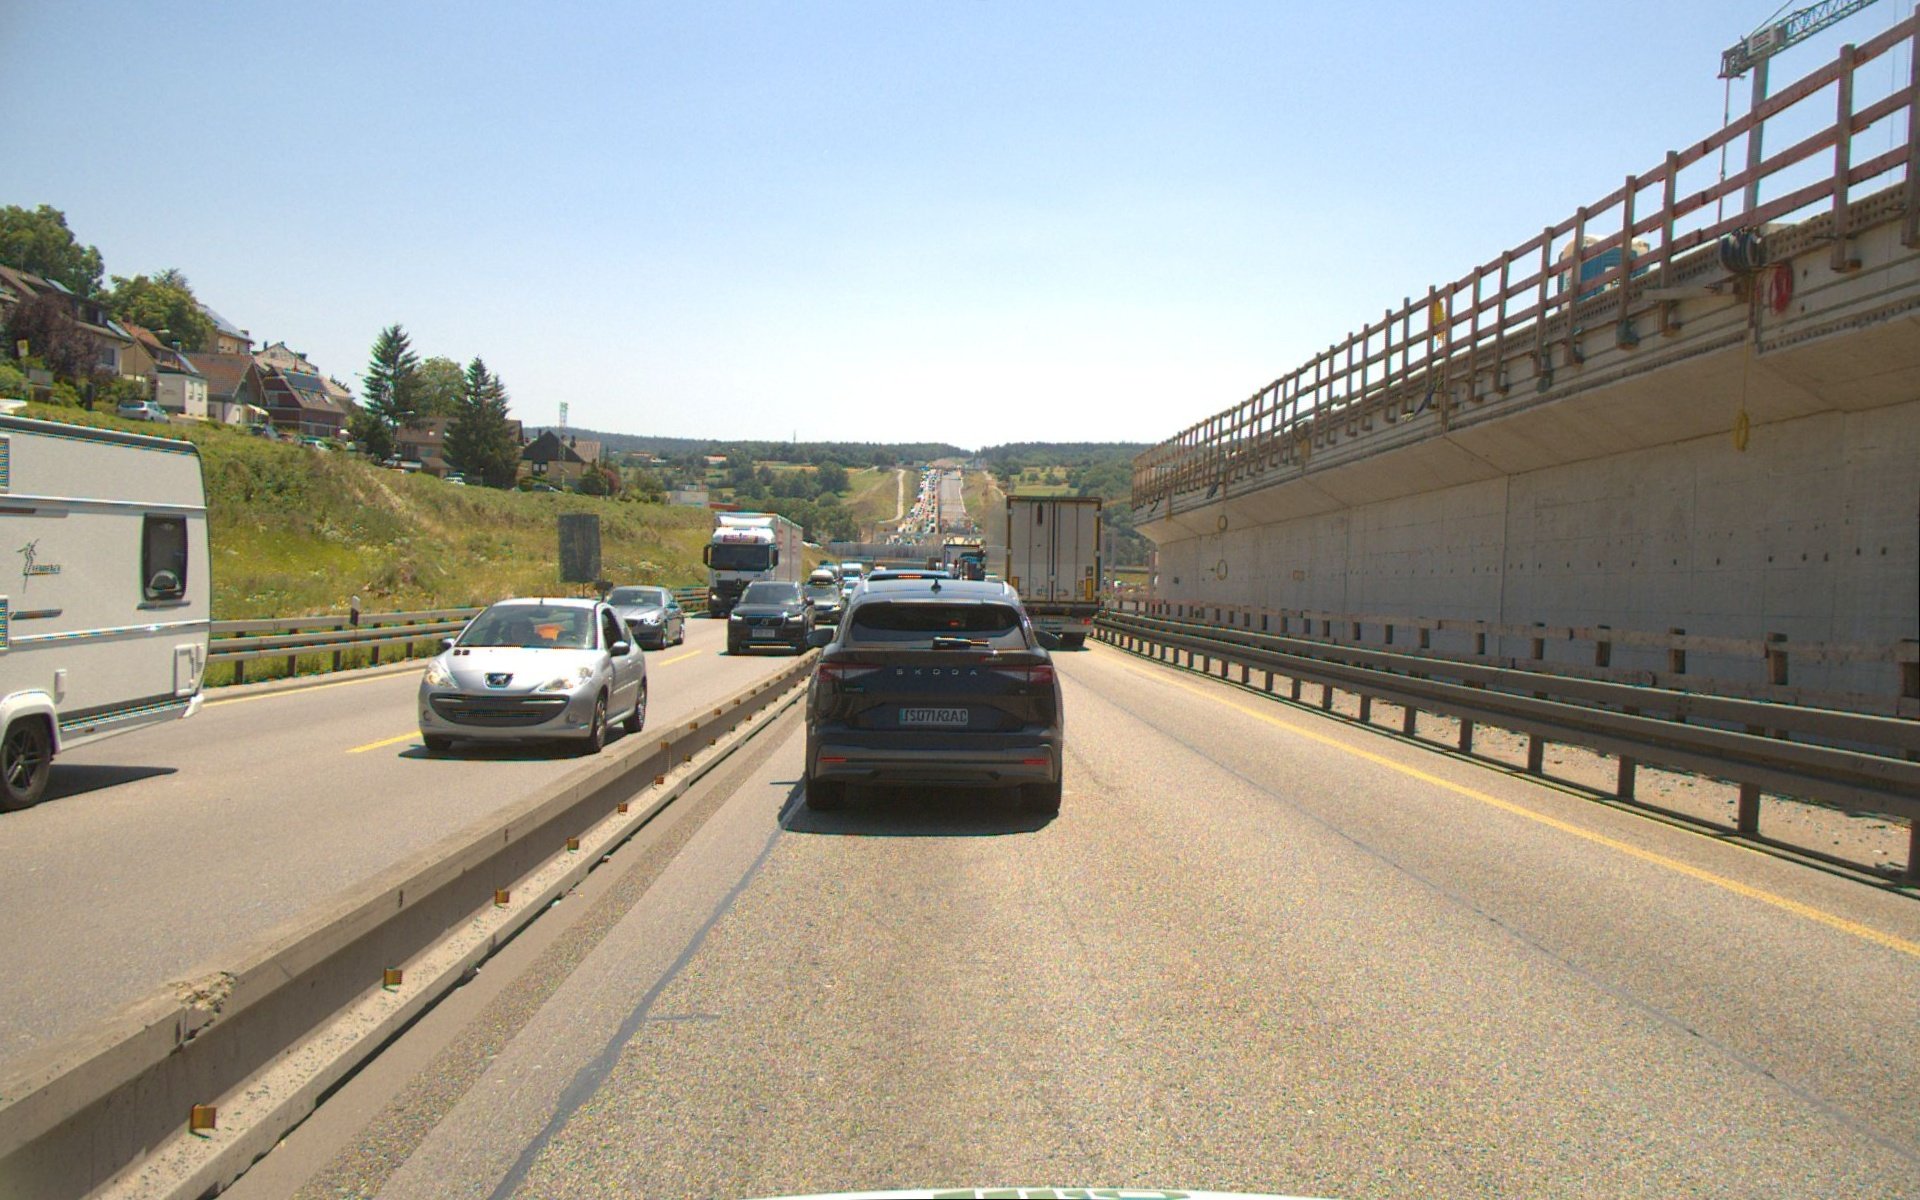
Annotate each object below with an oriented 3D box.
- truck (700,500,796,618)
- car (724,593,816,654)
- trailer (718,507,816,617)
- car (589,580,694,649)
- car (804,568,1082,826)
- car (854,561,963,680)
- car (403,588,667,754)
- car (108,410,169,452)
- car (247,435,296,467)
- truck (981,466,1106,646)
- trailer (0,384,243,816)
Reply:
[{"bbox_3d":[-8.581,-1.538,67.976,2.698,4.300,8.097,5,-1,-1],"label":"truck"},{"bbox_3d":[-4.426,0.544,39.017,1.735,1.311,3.999,2,-1,-1],"label":"car"},{"bbox_3d":[-8.696,-1.505,76.511,2.705,4.347,14.629,5,-1,-1],"label":"trailer"},{"bbox_3d":[-7.745,0.357,40.538,1.835,1.467,3.998,5,-1,-2],"label":"car"},{"bbox_3d":[-0.198,0.628,12.478,1.747,1.625,3.753,1,0,-3],"label":"car"},{"bbox_3d":[-0.997,0.358,30.159,1.715,1.928,3.752,4,0,-4],"label":"car"},{"bbox_3d":[-4.109,0.657,16.625,1.668,1.466,3.999,0,-1,-1],"label":"car"},{"bbox_3d":[-43.565,-8.922,87.756,1.891,1.758,3.988,1,0,-12],"label":"car"},{"bbox_3d":[-46.477,-10.077,111.770,1.718,1.758,3.998,1,0,-2],"label":"car"},{"bbox_3d":[2.297,-1.101,49.966,2.788,4.696,11.807,2,-1,-1],"label":"truck"},{"bbox_3d":[-7.143,0.004,10.768,2.434,2.659,5.865,0,-1,-1],"label":"trailer"}]
